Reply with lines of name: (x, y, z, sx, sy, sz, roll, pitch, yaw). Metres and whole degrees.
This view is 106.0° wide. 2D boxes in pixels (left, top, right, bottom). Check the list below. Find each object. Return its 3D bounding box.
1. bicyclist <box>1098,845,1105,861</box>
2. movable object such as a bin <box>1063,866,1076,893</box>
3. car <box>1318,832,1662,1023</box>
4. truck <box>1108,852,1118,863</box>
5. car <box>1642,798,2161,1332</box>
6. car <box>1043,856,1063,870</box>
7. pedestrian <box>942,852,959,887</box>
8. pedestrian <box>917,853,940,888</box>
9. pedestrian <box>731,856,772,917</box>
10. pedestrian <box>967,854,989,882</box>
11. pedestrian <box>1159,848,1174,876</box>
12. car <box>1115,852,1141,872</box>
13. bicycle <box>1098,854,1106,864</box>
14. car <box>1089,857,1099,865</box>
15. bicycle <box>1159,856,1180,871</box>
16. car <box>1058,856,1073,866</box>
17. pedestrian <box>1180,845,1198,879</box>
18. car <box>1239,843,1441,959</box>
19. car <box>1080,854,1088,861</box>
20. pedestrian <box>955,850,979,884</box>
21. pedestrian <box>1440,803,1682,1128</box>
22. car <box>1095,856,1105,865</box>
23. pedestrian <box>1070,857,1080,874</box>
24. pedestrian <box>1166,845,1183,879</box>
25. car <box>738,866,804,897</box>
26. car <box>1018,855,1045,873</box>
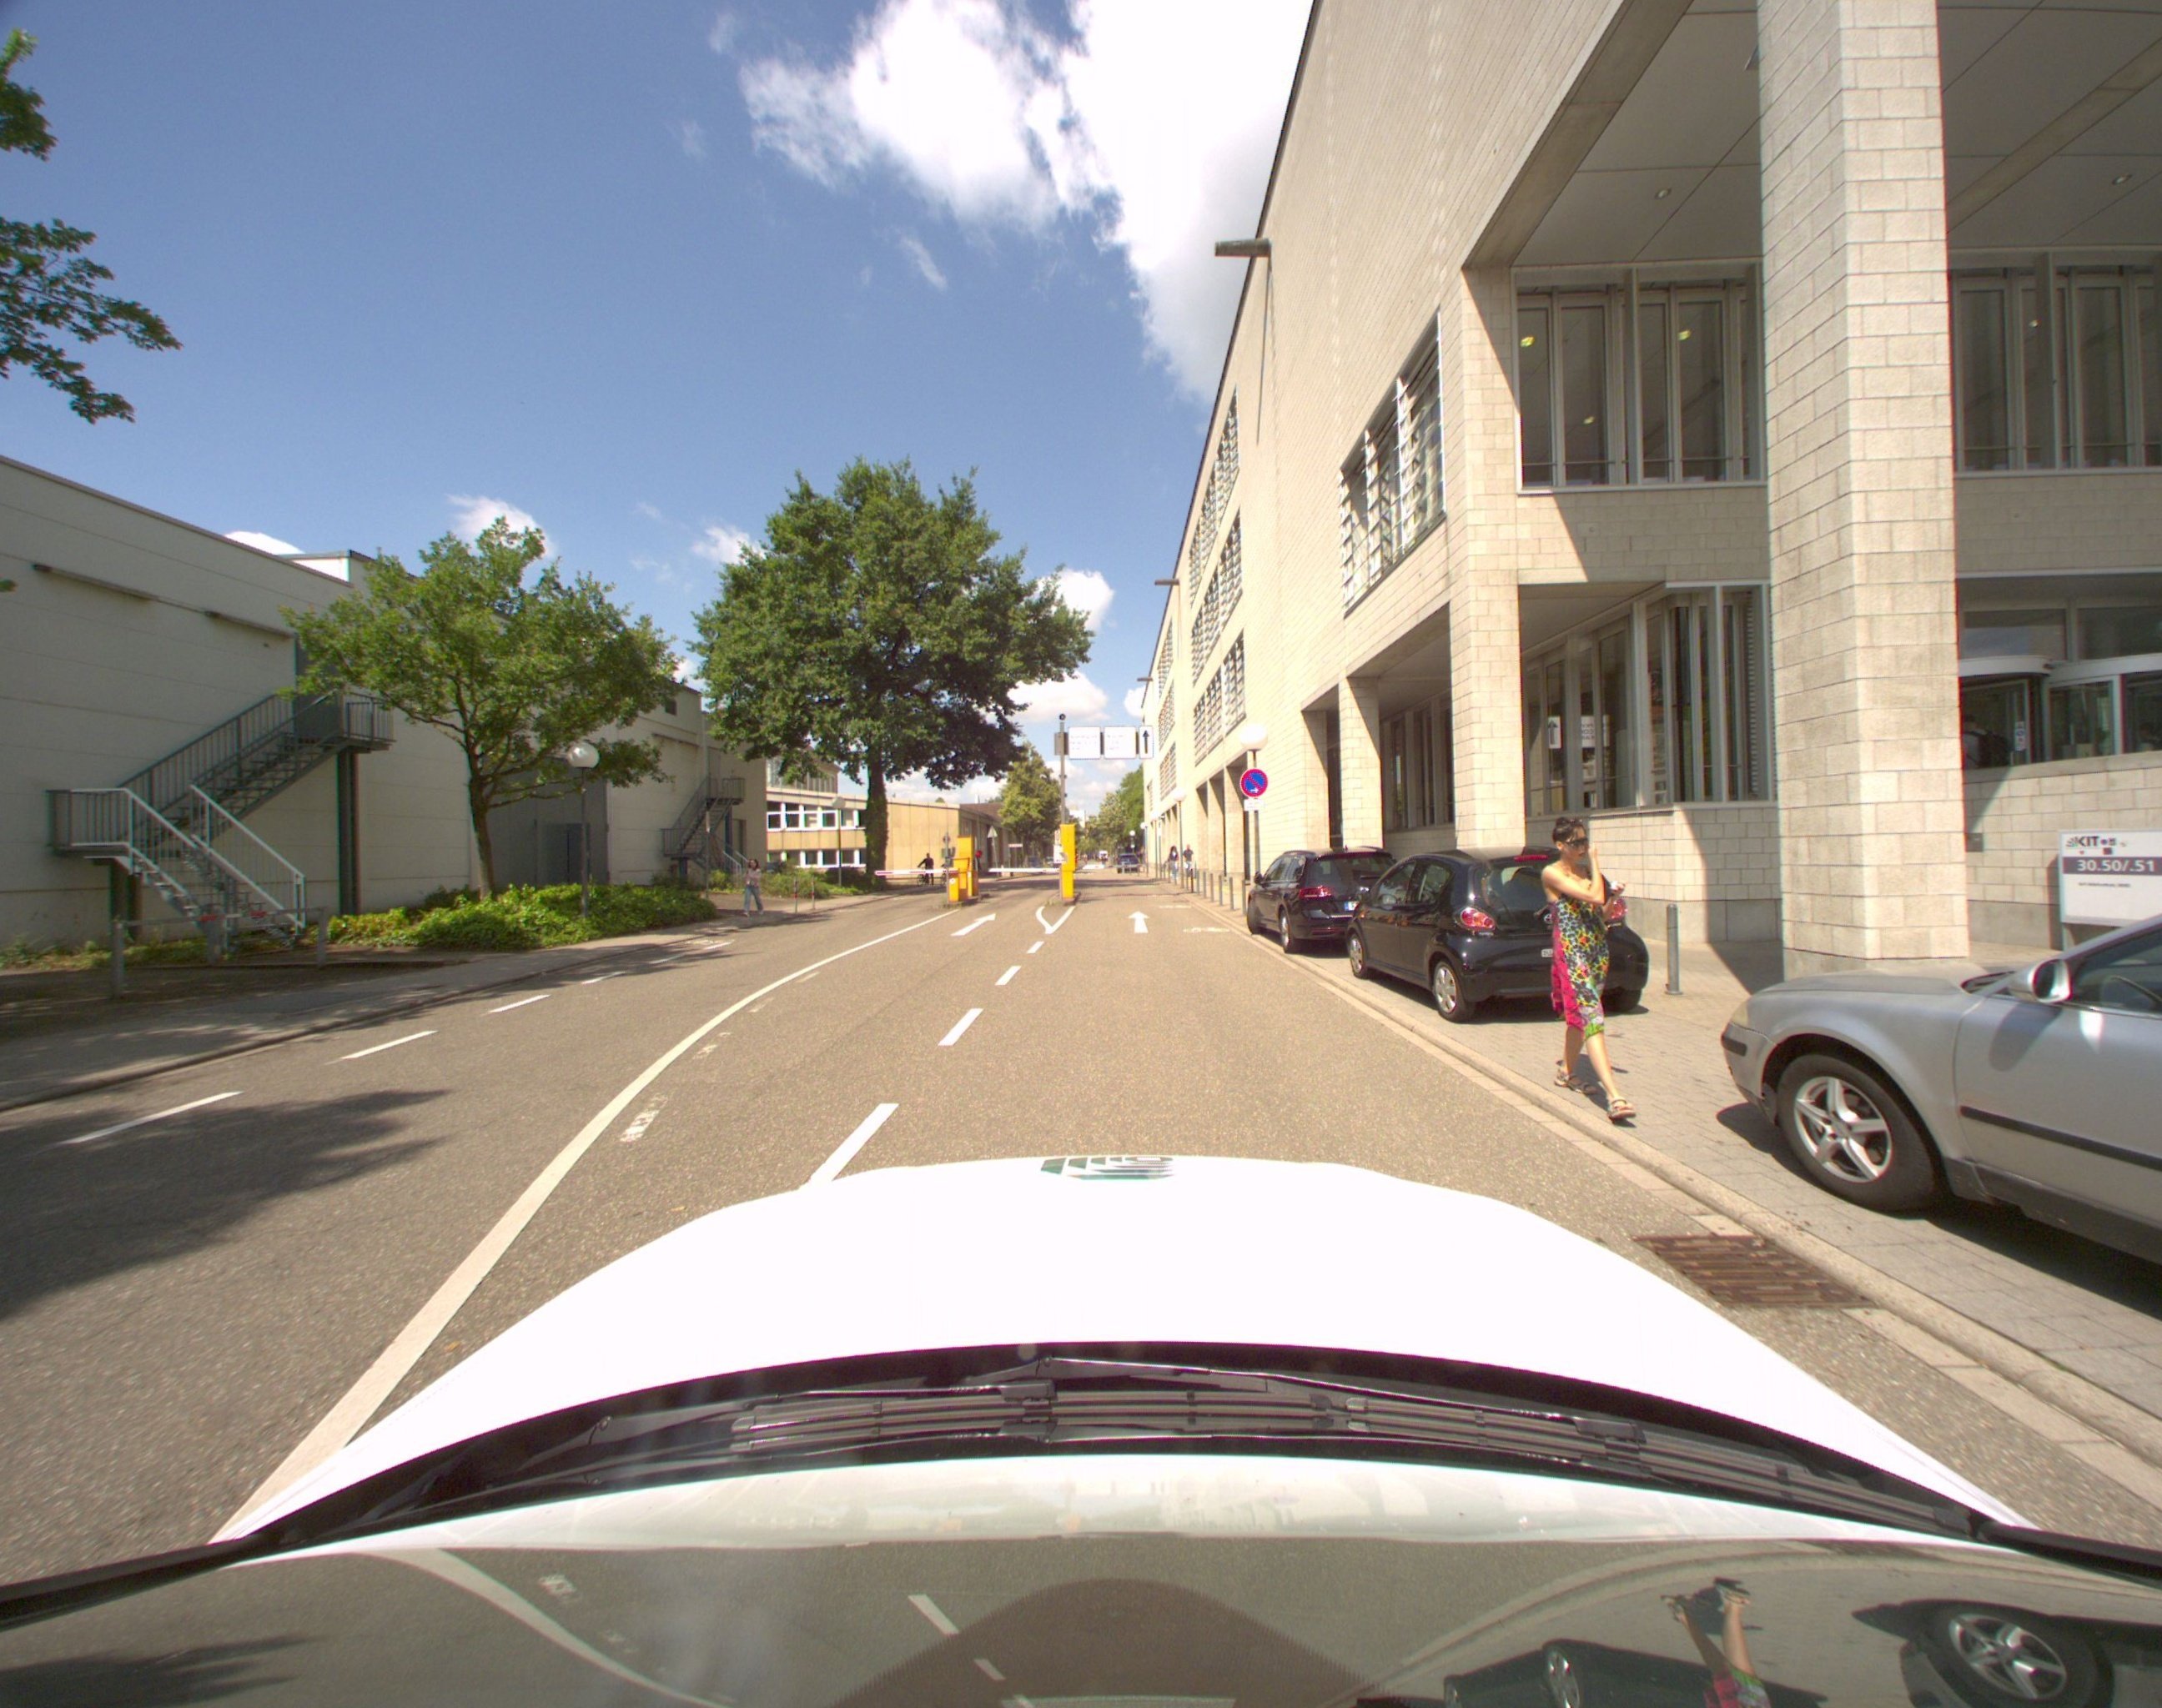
bicyclist: (2.891, -0.153, 114.760, 0.984, 2.132, 1.036, -2, -2, 1)
movable object such as a bin: (-0.395, 0.890, 28.543, 0.413, 0.905, 0.353, -1, 0, 5)
car: (3.895, 0.599, 8.599, 1.609, 1.496, 4.006, -2, 0, 0)
truck: (6.754, 0.753, 172.384, 1.987, 2.014, 3.999, -2, -2, 0)
car: (3.942, 0.566, 2.092, 1.714, 1.529, 4.563, -3, 0, -1)
car: (-3.313, 1.082, 96.748, 1.986, 1.545, 4.213, -1, 0, 2)
pedestrian: (-6.959, 0.836, 43.462, 0.703, 1.809, 1.001, -2, 0, 0)
pedestrian: (-8.136, 0.891, 43.497, 1.052, 1.816, 0.806, -2, 0, 0)
pedestrian: (-9.024, 0.875, 22.321, 0.711, 1.627, 0.883, -1, 0, 0)
pedestrian: (-6.135, 0.842, 48.419, 0.876, 1.632, 0.902, -2, -1, 35)
pedestrian: (5.158, 0.449, 49.003, 0.738, 1.632, 0.887, -3, 0, 0)
car: (3.855, 0.678, 67.438, 1.986, 1.545, 4.213, -2, 0, 2)
bicycle: (2.958, 0.770, 114.770, 0.984, 1.316, 2.964, -2, -2, 1)
car: (2.910, 1.540, 185.817, 1.985, 1.720, 4.004, -2, -2, 4)
bicycle: (6.982, 0.742, 64.305, 1.535, 1.066, 0.649, -2, 0, 9)
car: (-2.334, 1.074, 124.882, 1.986, 1.545, 4.213, -1, 0, 2)
pedestrian: (5.779, 0.434, 43.648, 0.764, 1.780, 0.910, -3, 0, 0)
car: (3.833, 0.617, 12.940, 1.859, 1.464, 4.521, -2, 0, 1)
car: (0.878, 1.074, 229.504, 1.985, 1.720, 4.004, -2, -2, 4)
pedestrian: (-6.662, 0.749, 47.526, 0.876, 1.925, 1.012, -2, -1, 35)
pedestrian: (2.852, 0.589, 4.910, 0.627, 1.717, 1.030, -2, 0, -31)
car: (4.126, 1.337, 174.848, 1.985, 1.720, 4.004, -2, -2, 4)
pedestrian: (-0.588, 1.078, 79.495, 0.891, 1.632, 0.887, -1, -1, -1)
pedestrian: (4.994, 0.423, 43.595, 0.692, 1.780, 1.085, -3, 0, 0)
car: (-16.577, 1.454, 43.718, 1.823, 1.466, 4.299, -1, 0, 0)
car: (-4.515, 0.937, 74.741, 1.986, 1.545, 4.213, -1, 0, 2)
